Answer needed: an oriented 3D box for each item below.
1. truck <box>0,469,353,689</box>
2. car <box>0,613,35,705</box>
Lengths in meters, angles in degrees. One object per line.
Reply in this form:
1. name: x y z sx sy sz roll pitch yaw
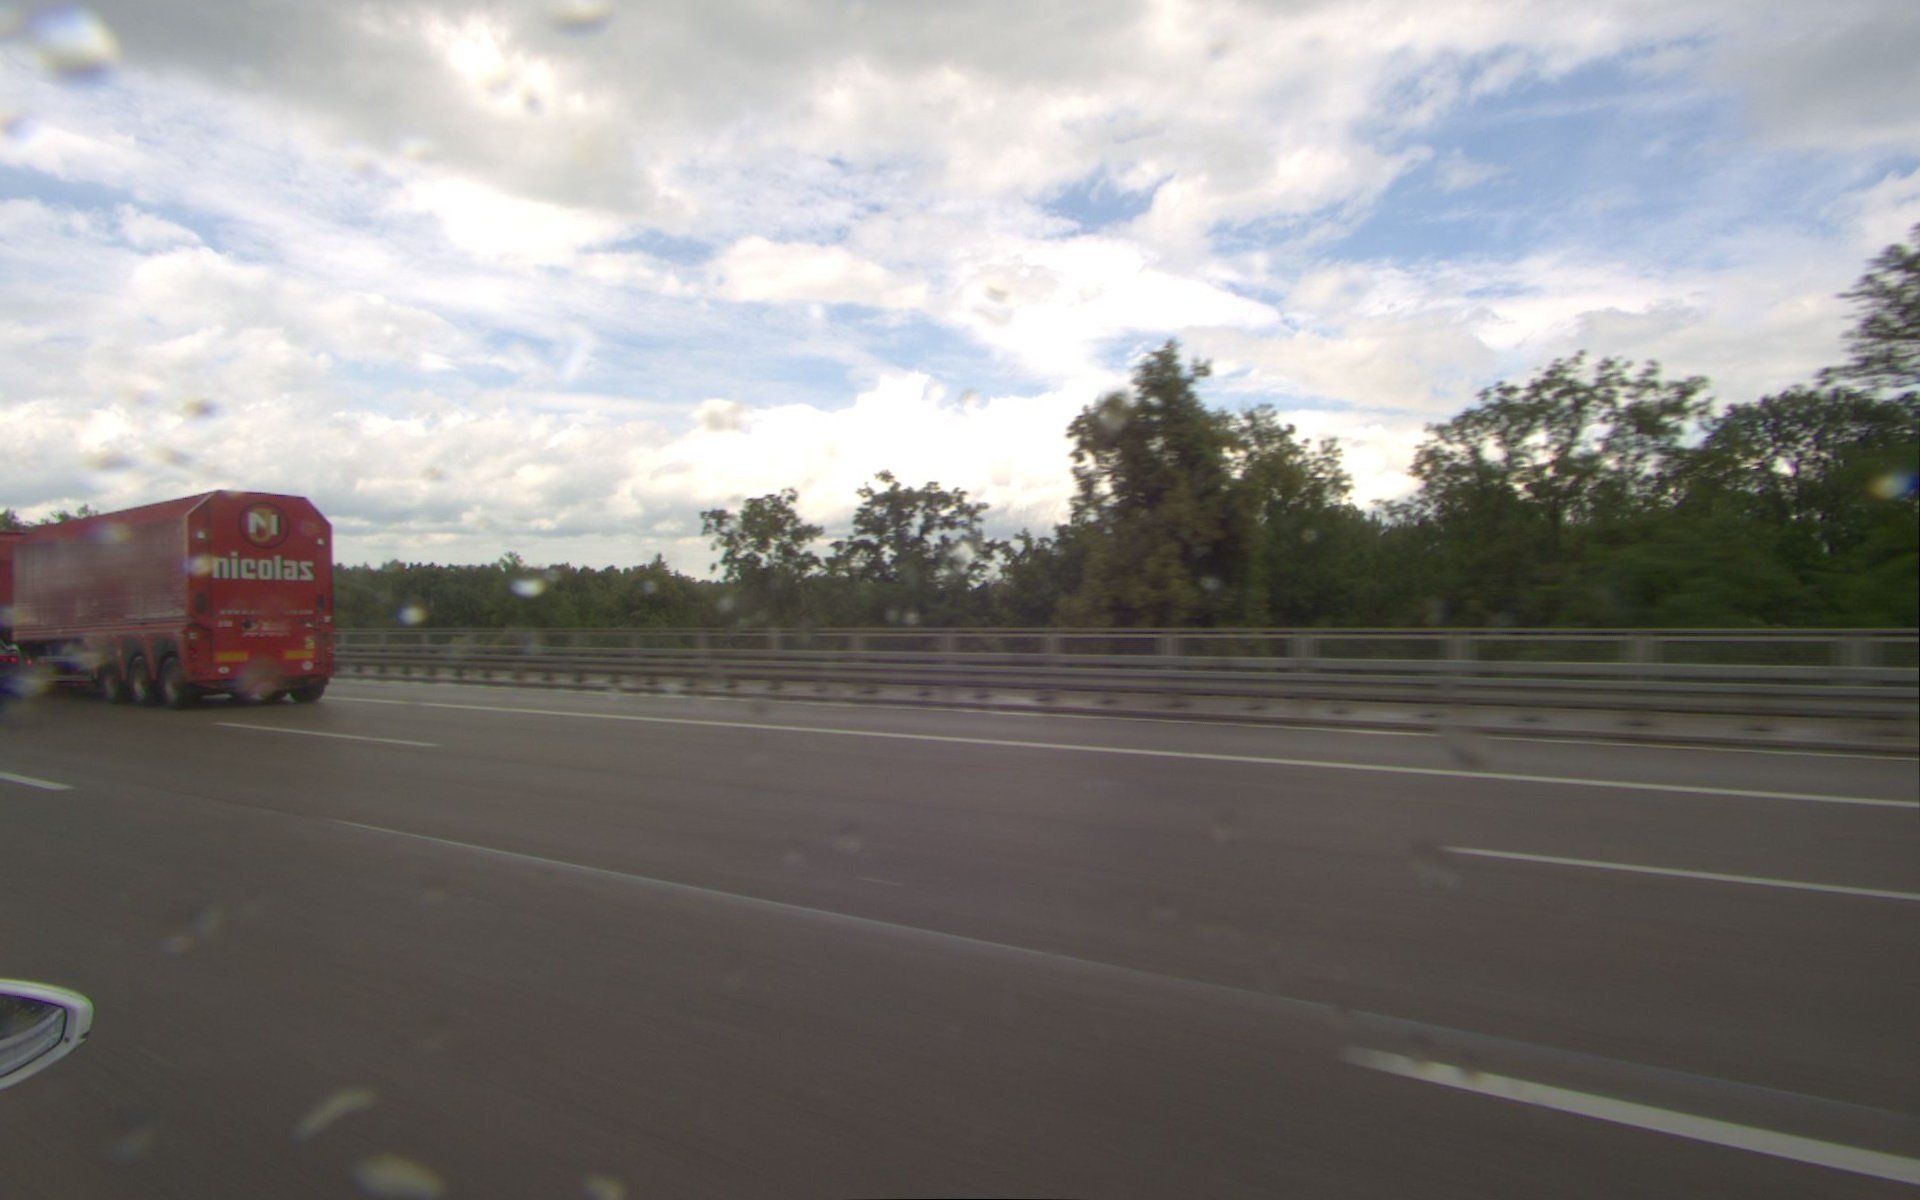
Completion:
1. truck: -20.133 -0.307 23.877 15.411 4.055 3.147 0 -1 32
2. car: -18.396 1.036 17.942 3.668 1.582 1.789 -1 -1 32
